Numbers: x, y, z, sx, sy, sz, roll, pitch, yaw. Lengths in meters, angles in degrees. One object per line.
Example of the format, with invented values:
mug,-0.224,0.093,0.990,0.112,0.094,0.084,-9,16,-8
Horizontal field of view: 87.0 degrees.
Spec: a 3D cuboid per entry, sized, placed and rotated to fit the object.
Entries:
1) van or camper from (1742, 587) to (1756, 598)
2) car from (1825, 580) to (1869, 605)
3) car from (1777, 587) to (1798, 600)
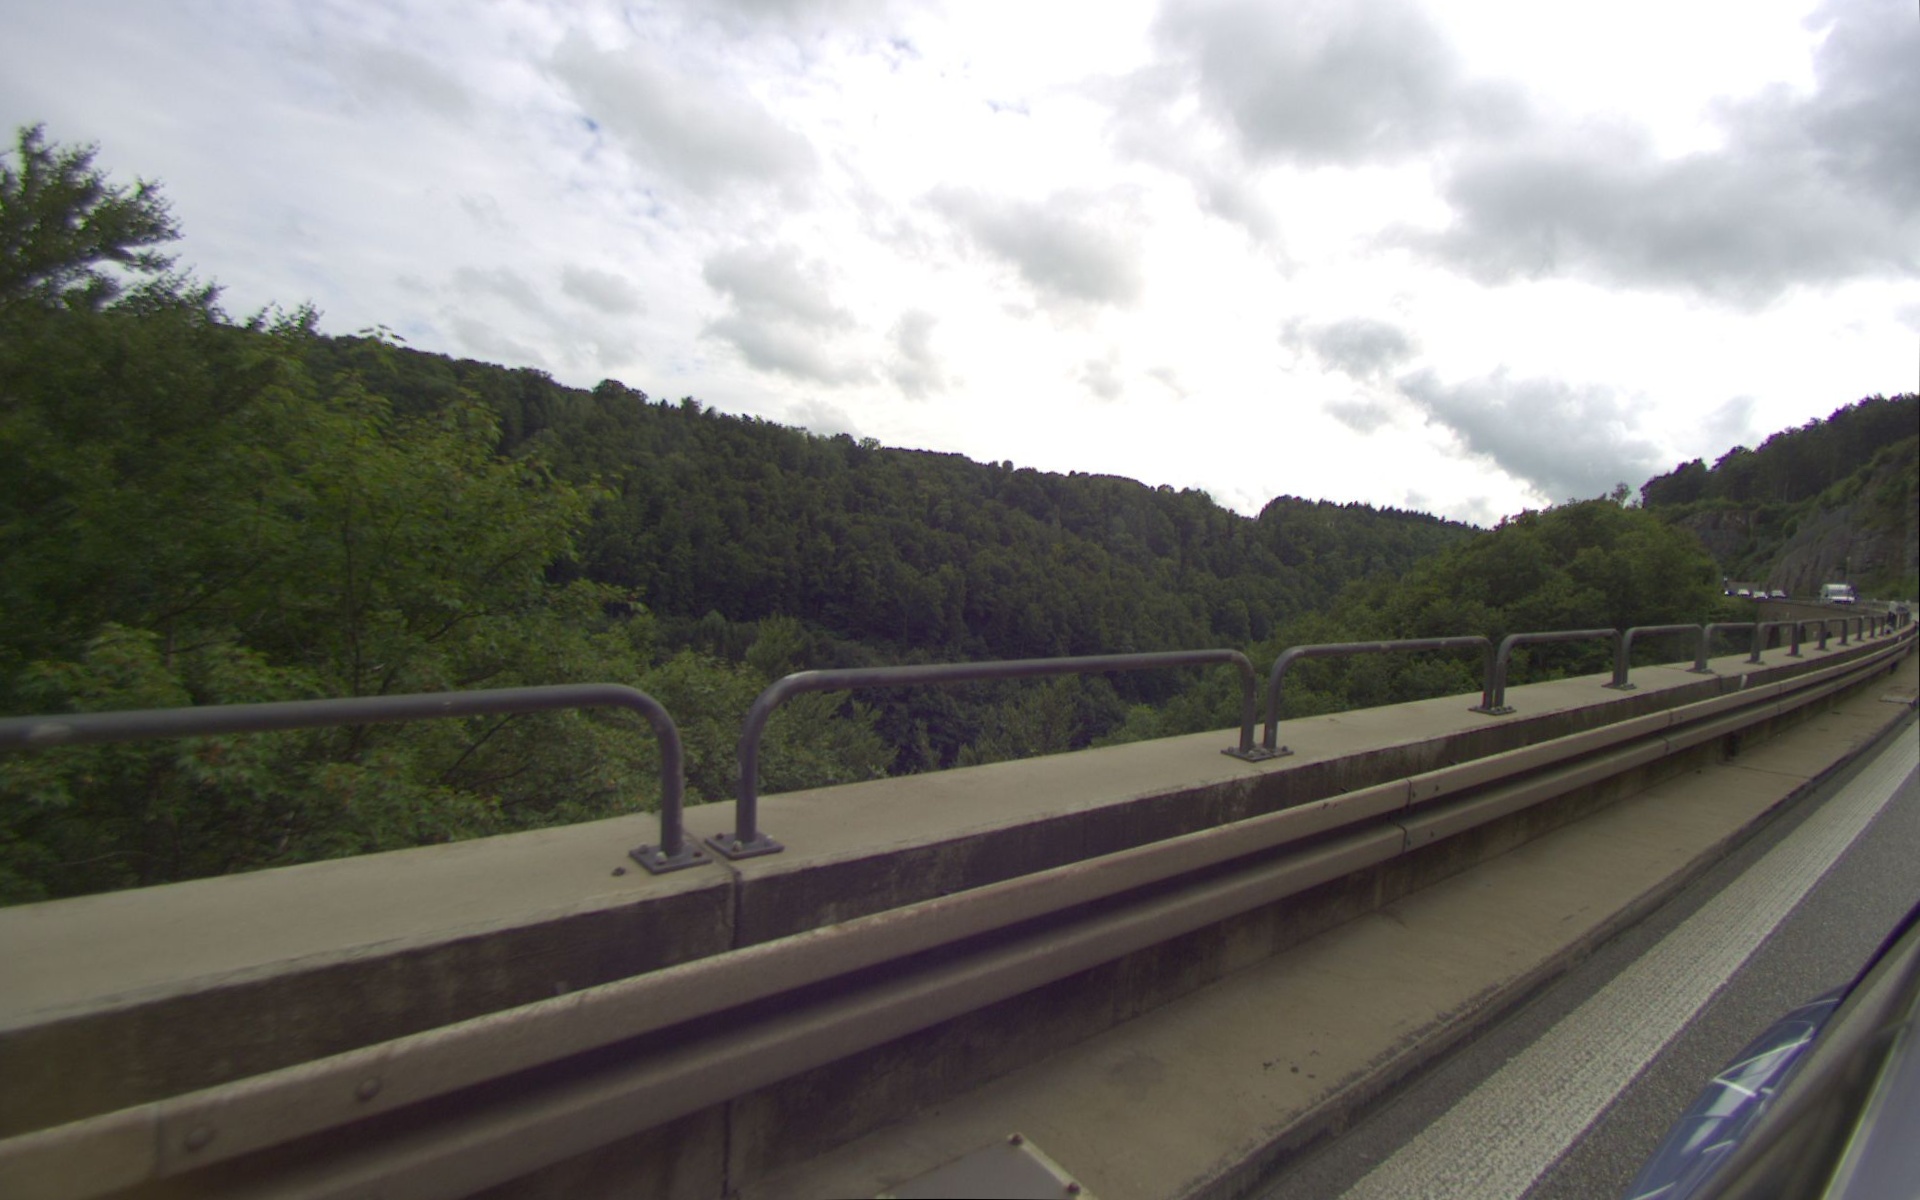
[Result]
van or camper,154.793,-1.516,198.530,1.987,2.039,3.949,1,1,35
car,87.906,-0.783,100.349,2.659,2.453,6.043,1,1,36
car,130.891,-1.066,160.076,1.984,2.039,3.957,1,1,31
